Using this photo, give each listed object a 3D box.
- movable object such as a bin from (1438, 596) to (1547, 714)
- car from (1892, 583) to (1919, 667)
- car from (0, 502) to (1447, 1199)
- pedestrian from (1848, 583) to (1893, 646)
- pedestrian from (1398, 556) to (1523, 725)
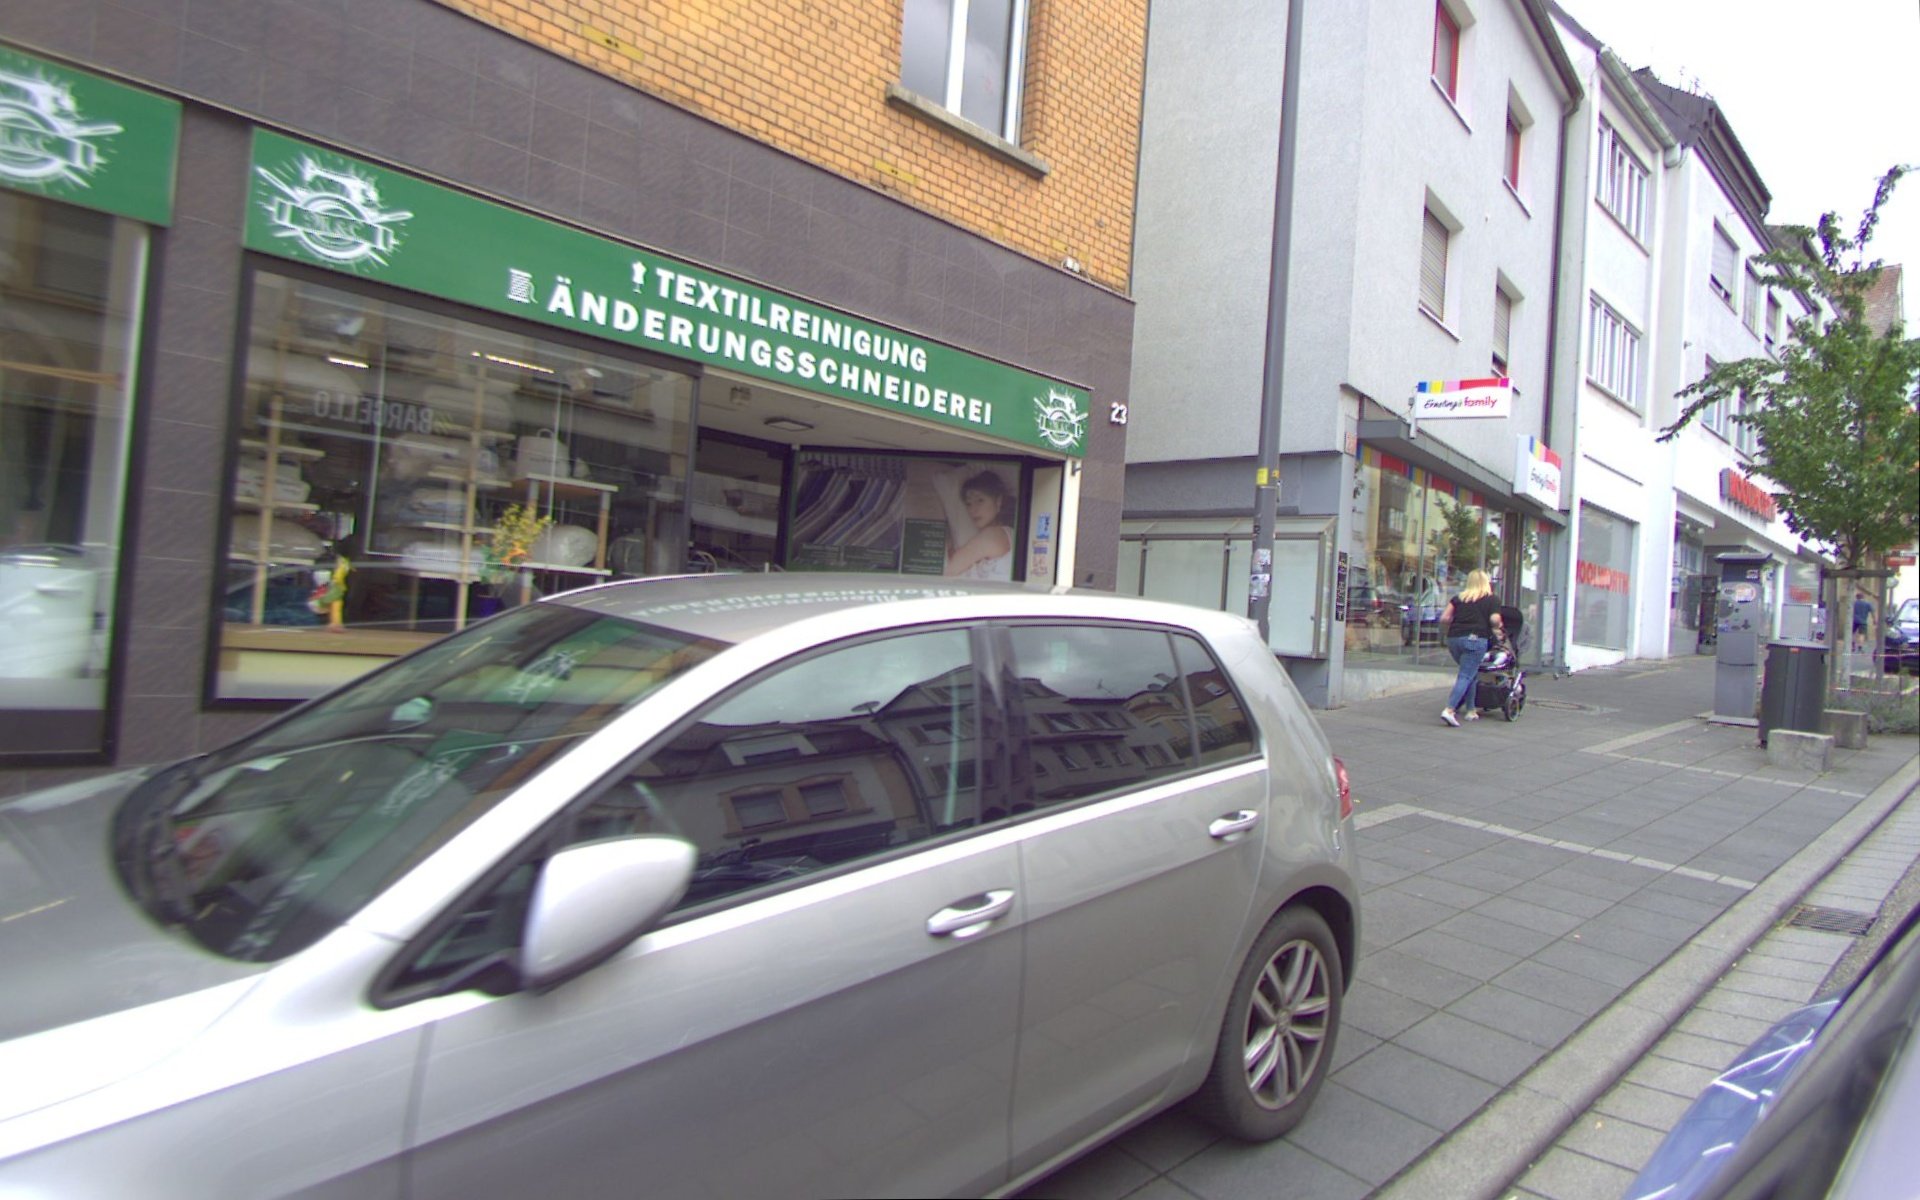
[{"bbox_3d":[5.787,0.572,11.003,0.891,1.172,0.723,1,3,-41],"label":"movable object such as a bin"},{"bbox_3d":[19.518,0.493,19.763,1.750,1.515,3.739,5,5,44],"label":"car"},{"bbox_3d":[-0.602,0.588,2.464,4.004,1.483,1.752,0,4,-42],"label":"car"},{"bbox_3d":[23.468,0.373,26.076,0.804,1.580,0.757,2,1,-43],"label":"pedestrian"},{"bbox_3d":[5.130,0.385,10.370,0.983,1.604,0.737,1,3,-41],"label":"pedestrian"}]
